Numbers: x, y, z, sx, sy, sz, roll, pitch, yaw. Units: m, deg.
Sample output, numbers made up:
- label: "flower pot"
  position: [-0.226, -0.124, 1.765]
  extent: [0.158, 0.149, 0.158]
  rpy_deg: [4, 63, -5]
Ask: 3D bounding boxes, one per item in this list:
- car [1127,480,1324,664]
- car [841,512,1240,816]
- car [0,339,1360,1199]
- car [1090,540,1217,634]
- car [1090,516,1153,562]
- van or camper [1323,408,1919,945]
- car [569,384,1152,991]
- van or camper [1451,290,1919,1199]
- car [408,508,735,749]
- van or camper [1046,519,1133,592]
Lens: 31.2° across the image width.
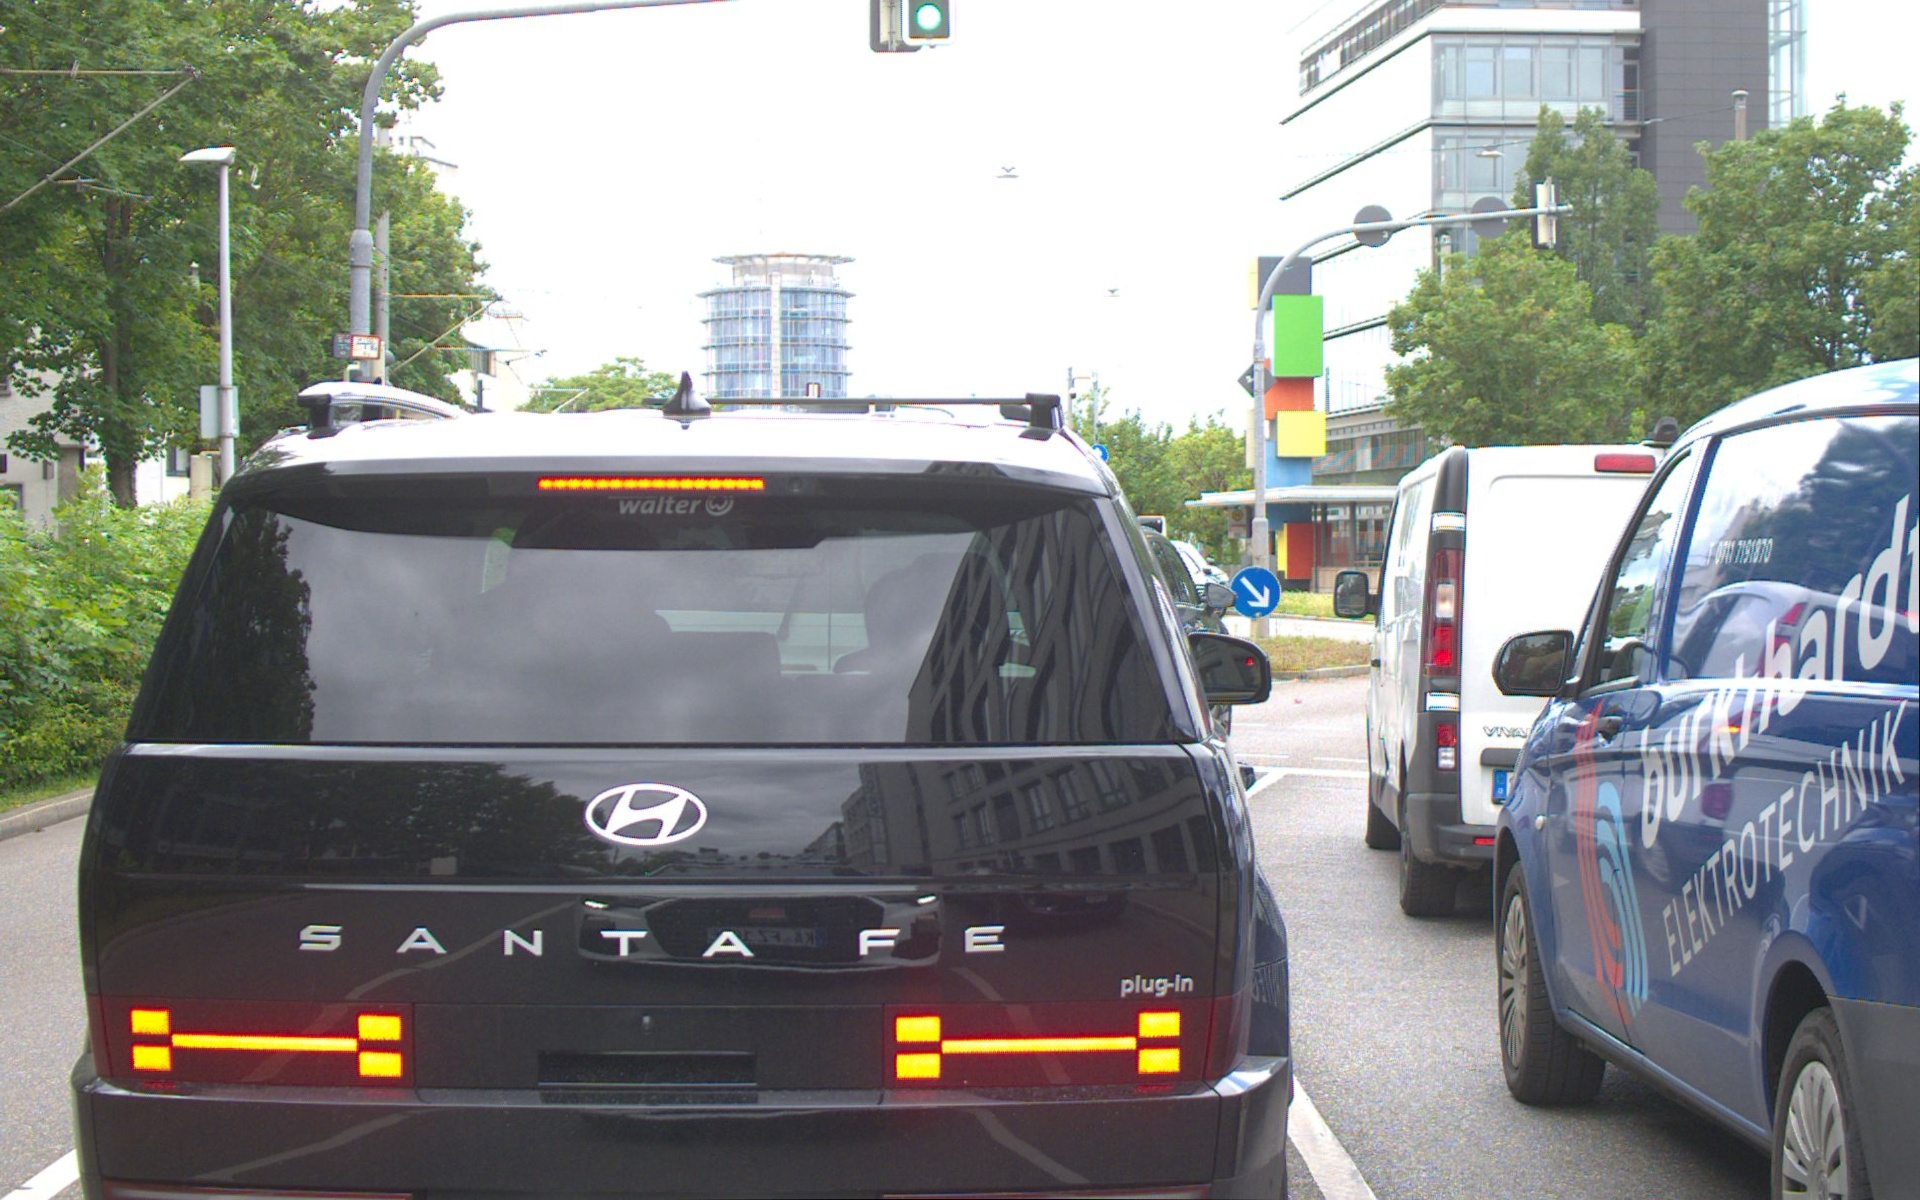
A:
- label: "car"
  position: [3.019, -0.322, 39.877]
  extent: [1.993, 2.007, 4.000]
  rpy_deg: [0, 0, 1]
- label: "car"
  position: [0.624, 0.347, 21.750]
  extent: [1.777, 1.711, 4.336]
  rpy_deg: [1, 0, 12]
- label: "car"
  position: [-0.434, 0.508, 6.413]
  extent: [1.869, 1.754, 3.880]
  rpy_deg: [0, 1, -1]
- label: "car"
  position: [3.448, -0.243, 61.912]
  extent: [1.993, 1.612, 4.000]
  rpy_deg: [0, 0, -1]
- label: "car"
  position: [6.168, -2.315, 131.525]
  extent: [1.993, 1.678, 4.000]
  rpy_deg: [0, 0, -3]
- label: "van or camper"
  position: [2.773, 0.247, 15.286]
  extent: [1.994, 2.007, 4.652]
  rpy_deg: [1, 1, 2]
- label: "car"
  position: [-0.350, 0.257, 13.283]
  extent: [1.915, 1.996, 3.880]
  rpy_deg: [0, 1, -1]
- label: "van or camper"
  position: [2.394, 0.431, 7.550]
  extent: [1.859, 1.904, 5.032]
  rpy_deg: [0, 1, -1]
- label: "car"
  position: [-2.801, 0.180, 25.648]
  extent: [1.847, 1.575, 4.116]
  rpy_deg: [-2, 0, 1]
- label: "van or camper"
  position: [4.674, -1.581, 123.492]
  extent: [1.994, 2.538, 6.575]
  rpy_deg: [1, 0, 12]
